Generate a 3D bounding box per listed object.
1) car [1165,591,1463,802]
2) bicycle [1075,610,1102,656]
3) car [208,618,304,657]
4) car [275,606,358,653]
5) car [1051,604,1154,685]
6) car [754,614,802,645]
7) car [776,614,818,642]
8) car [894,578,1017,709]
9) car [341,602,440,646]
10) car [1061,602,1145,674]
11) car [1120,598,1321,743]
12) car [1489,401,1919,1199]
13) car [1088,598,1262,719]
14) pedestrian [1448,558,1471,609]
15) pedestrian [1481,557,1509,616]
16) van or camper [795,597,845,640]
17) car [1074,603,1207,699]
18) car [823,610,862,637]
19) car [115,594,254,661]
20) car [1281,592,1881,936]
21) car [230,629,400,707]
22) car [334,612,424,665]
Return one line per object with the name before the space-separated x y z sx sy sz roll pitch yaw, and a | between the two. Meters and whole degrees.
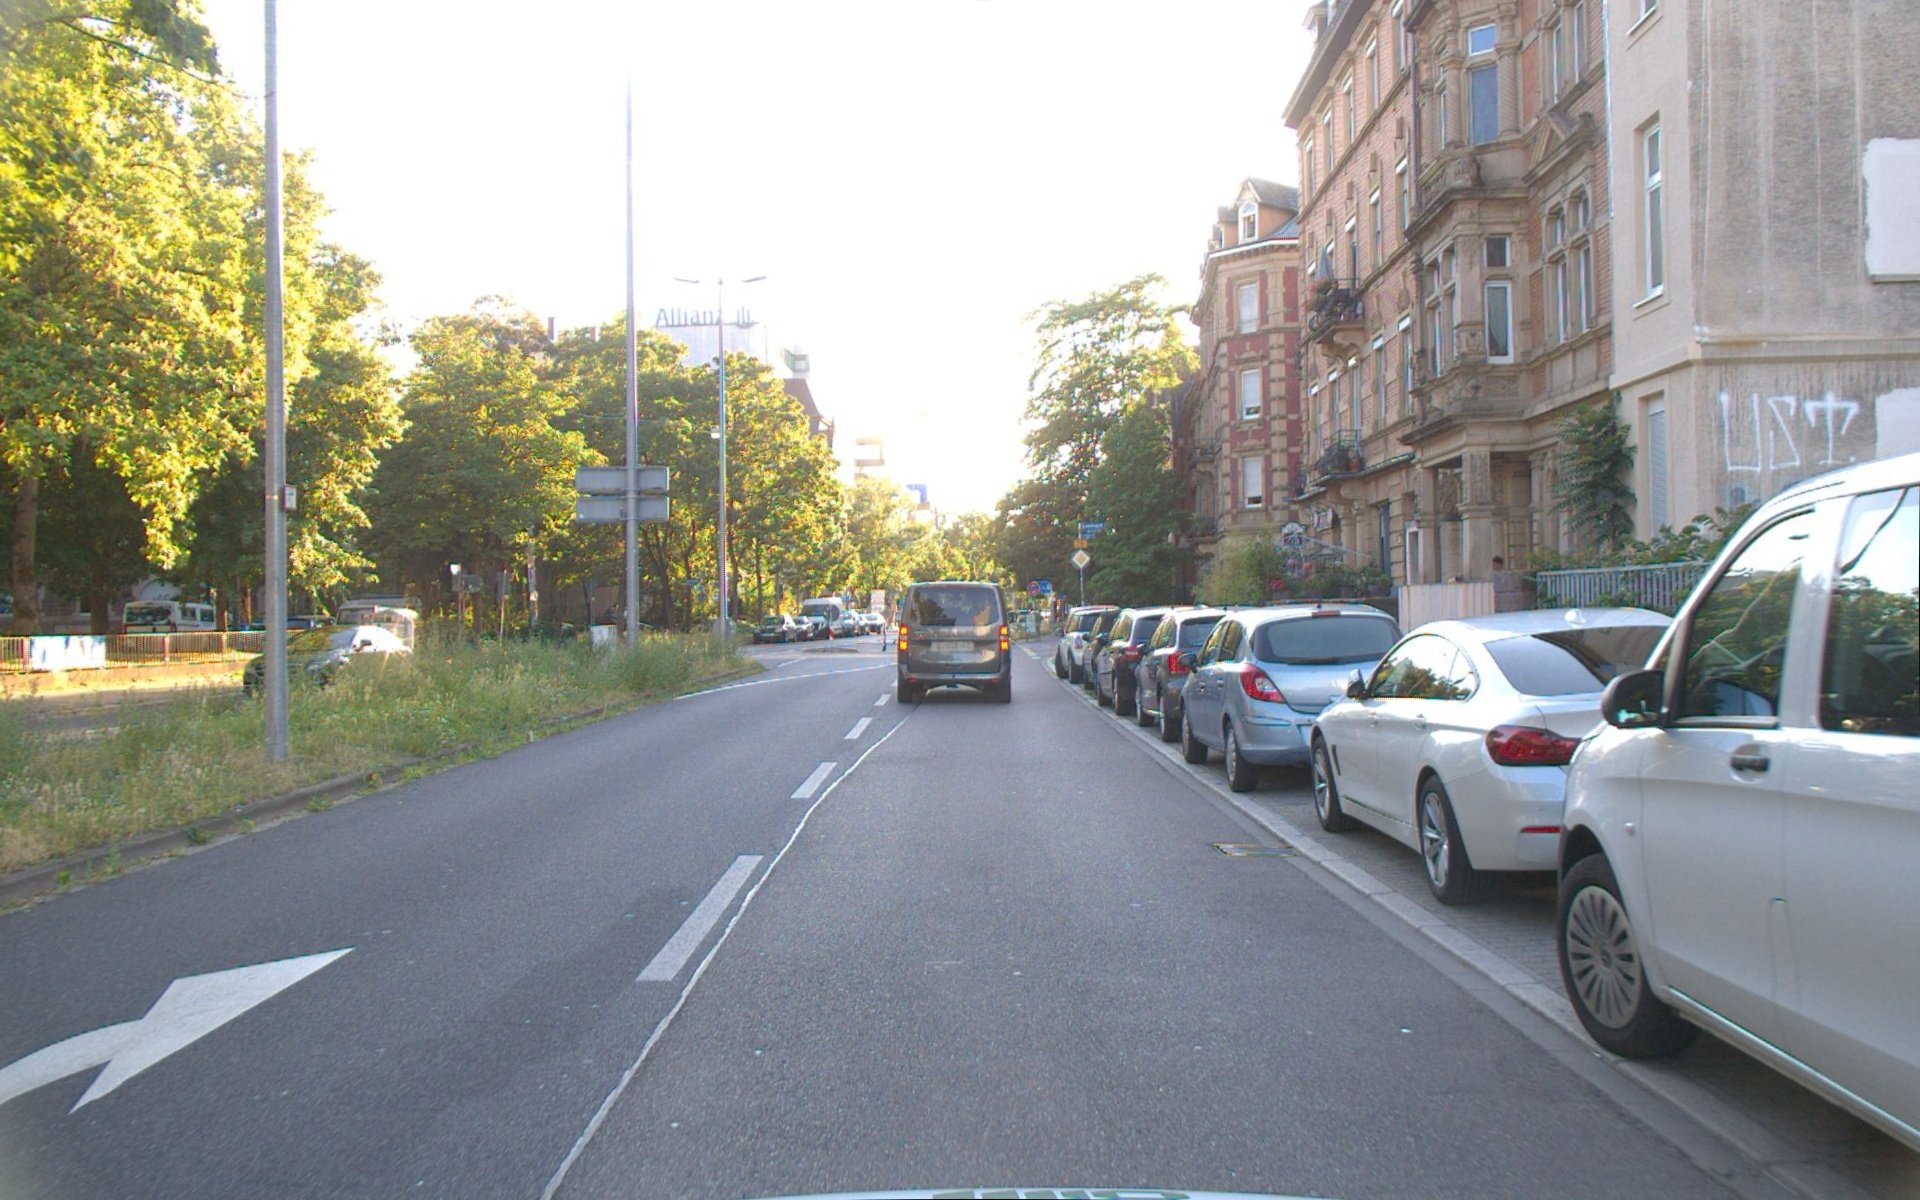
car | 3.004 0.770 14.843 1.666 1.513 3.891 -4 0 -1
bicycle | 3.795 0.984 49.059 0.554 1.297 2.264 -5 -2 0
car | -25.366 1.330 59.750 1.696 1.355 4.000 0 0 1
car | -27.868 1.256 71.703 1.952 1.915 4.000 1 0 1
car | 2.877 0.879 34.045 1.643 1.451 3.676 -4 0 -1
car | -9.559 1.551 87.179 1.589 1.533 4.546 -1 -1 5
car | -9.160 1.545 92.981 1.594 1.454 4.244 -2 0 4
car | -0.072 0.682 27.407 1.849 1.958 3.839 -1 0 0
car | -33.831 1.421 98.405 2.230 2.529 5.210 -1 -1 38
car | 3.325 0.868 38.975 1.690 1.490 3.547 -4 0 2
car | 3.027 0.785 19.931 1.712 1.451 3.839 -4 0 0
car | 2.996 0.493 3.934 1.849 1.952 5.180 -4 0 2
car | 3.043 0.803 24.288 1.849 1.473 4.463 -4 0 0
pedestrian | 8.721 -0.286 28.861 0.303 0.885 0.319 0 -1 33
pedestrian | 9.483 -0.241 29.334 0.395 1.047 0.319 0 -1 33
van or camper | -8.478 1.105 100.737 2.047 2.511 6.308 -2 0 4
car | 3.142 0.863 29.601 1.849 1.451 4.342 -4 0 0
car | -7.630 1.543 107.986 1.826 1.673 4.573 -2 -1 4
car | -28.107 0.968 60.154 2.168 2.329 5.102 0 0 7
car | 3.226 0.749 9.712 1.693 1.409 4.642 -4 0 0
car | -12.957 1.329 33.496 1.738 1.295 4.008 -4 0 1
car | -20.793 1.355 59.382 1.781 1.826 4.000 0 0 1
